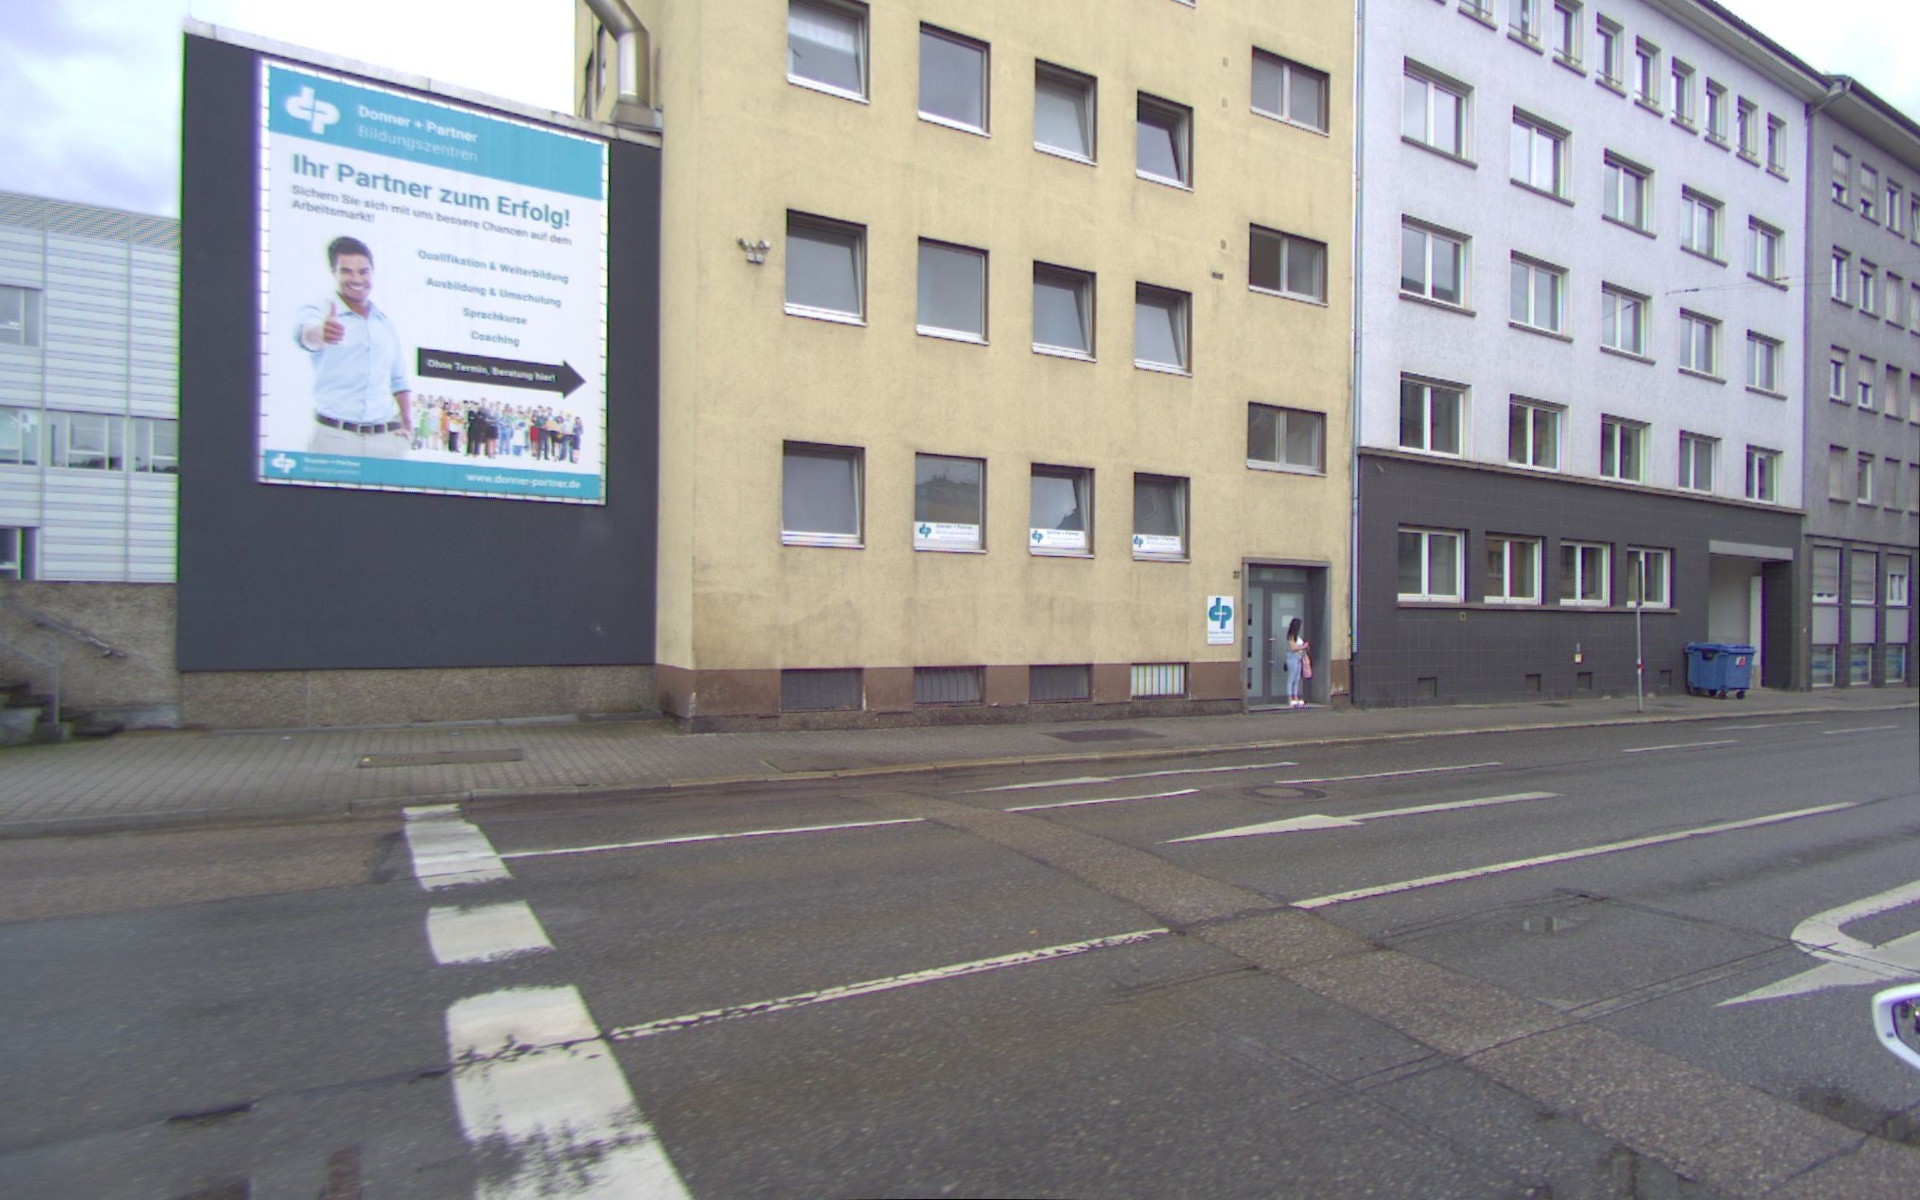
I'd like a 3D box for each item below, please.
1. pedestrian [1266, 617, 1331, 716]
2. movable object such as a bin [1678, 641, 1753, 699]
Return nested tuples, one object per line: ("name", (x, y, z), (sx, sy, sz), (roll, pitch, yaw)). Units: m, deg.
("pedestrian", (6.136, 1.187, 18.204), (0.801, 1.712, 0.714), (2, 1, -28))
("movable object such as a bin", (18.750, 1.729, 24.929), (1.176, 1.342, 1.071), (2, 0, -29))
